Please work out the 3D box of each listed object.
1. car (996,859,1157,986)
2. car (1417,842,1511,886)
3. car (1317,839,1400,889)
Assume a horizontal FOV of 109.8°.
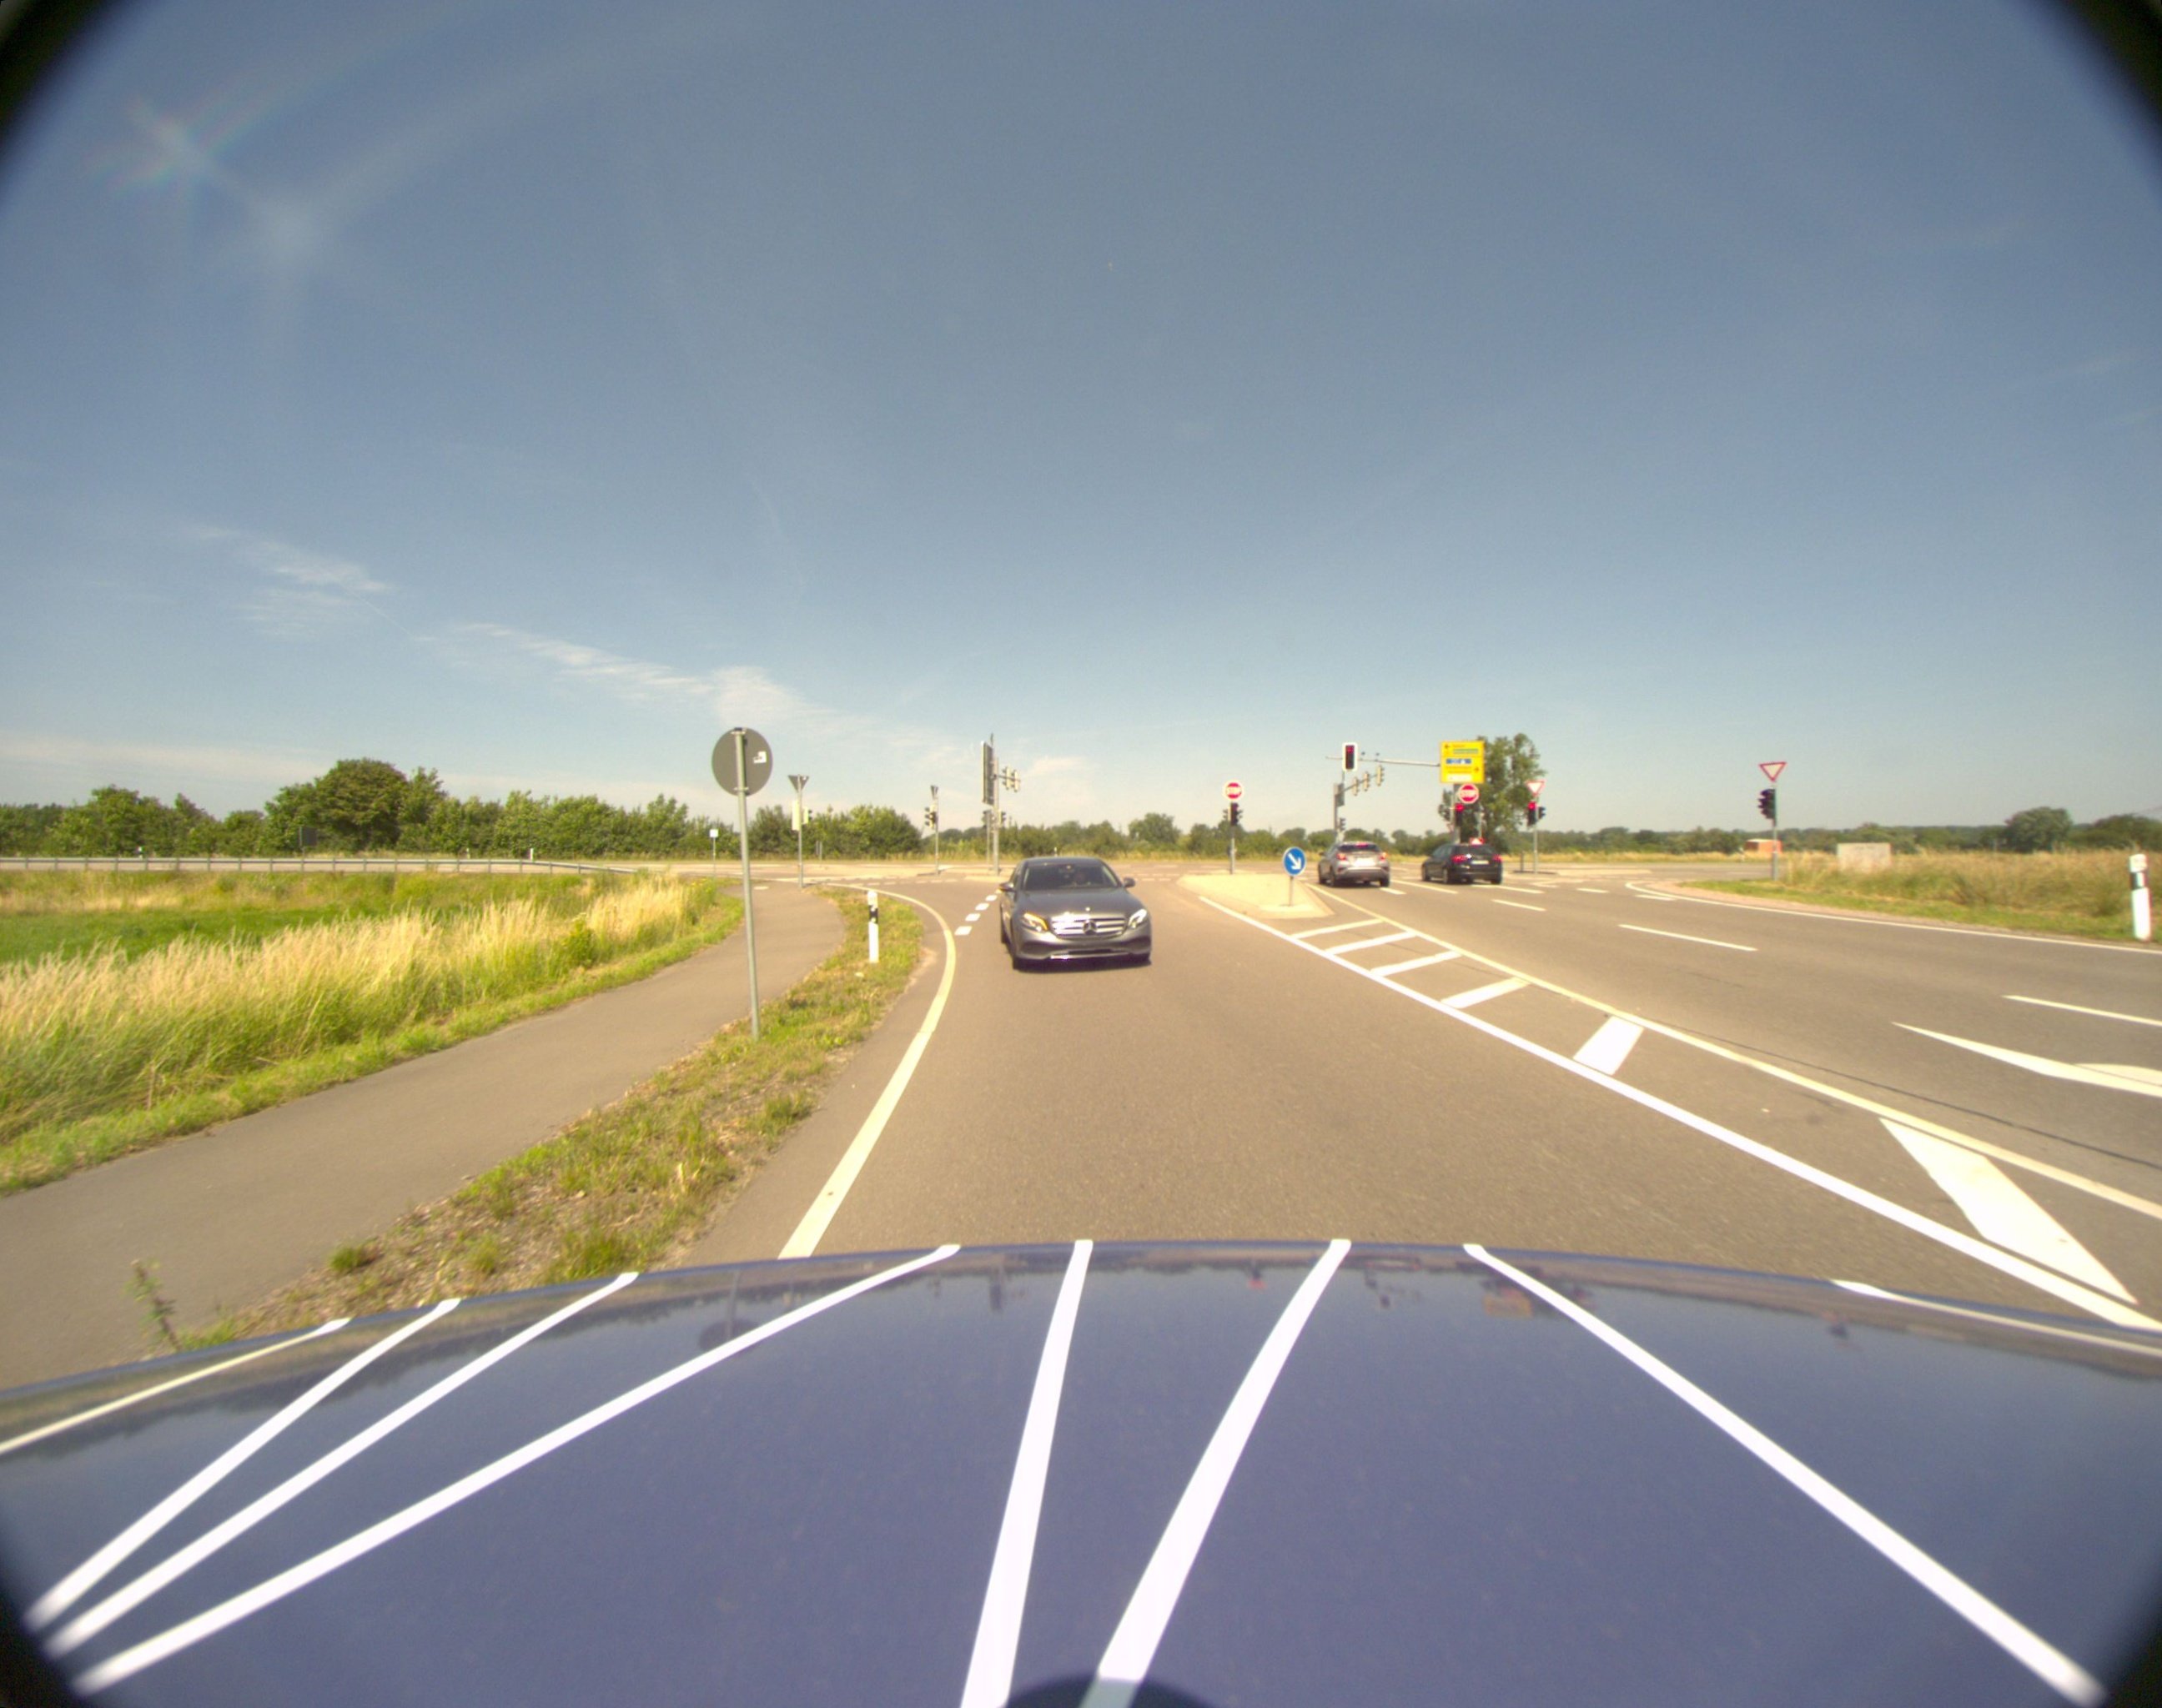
[{"bbox_3d":[-0.287,0.864,11.729,1.895,1.439,4.522,-2,1,-8],"label":"car"},{"bbox_3d":[13.251,0.330,26.592,1.773,1.360,4.277,-1,0,10],"label":"car"},{"bbox_3d":[9.339,0.320,25.962,1.869,1.535,4.555,-1,0,10],"label":"car"}]
